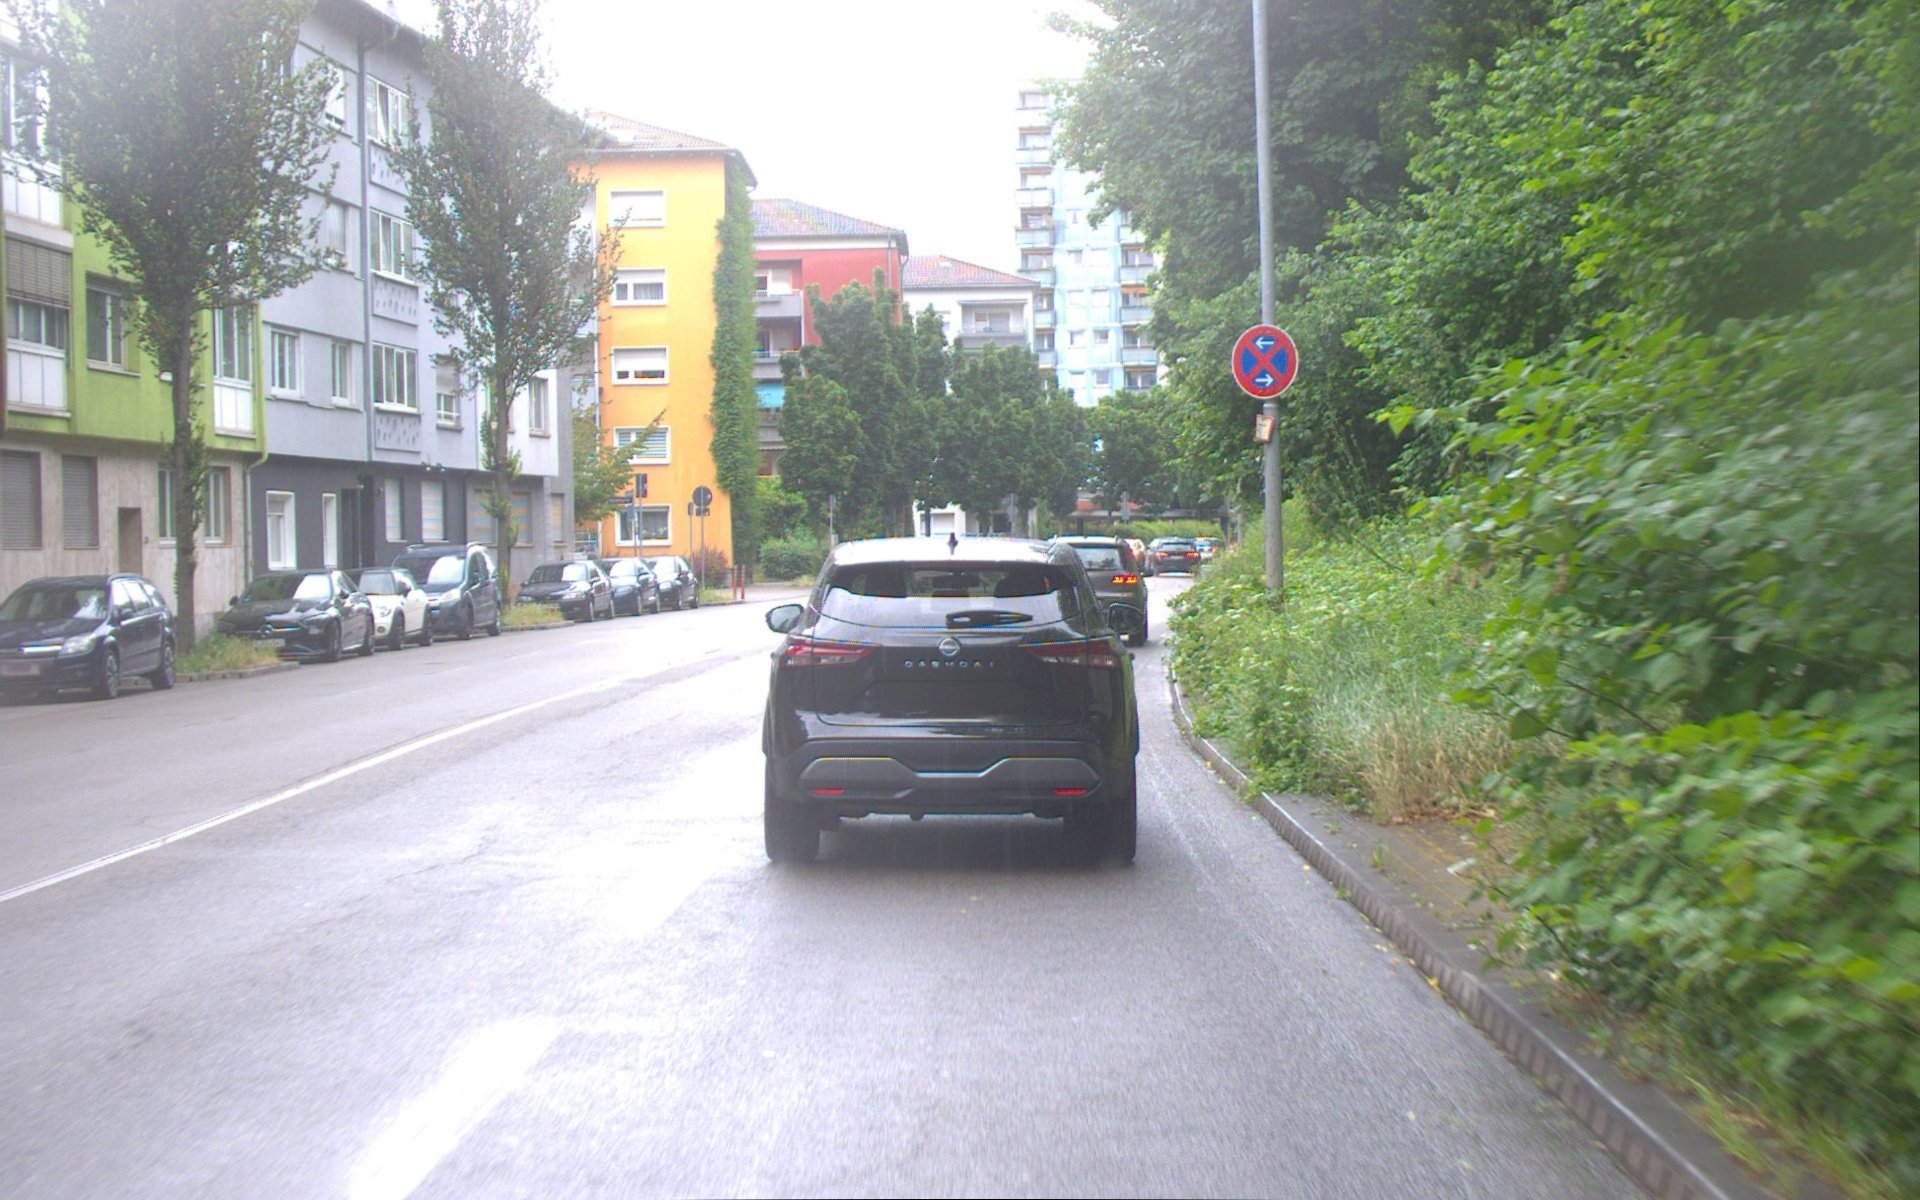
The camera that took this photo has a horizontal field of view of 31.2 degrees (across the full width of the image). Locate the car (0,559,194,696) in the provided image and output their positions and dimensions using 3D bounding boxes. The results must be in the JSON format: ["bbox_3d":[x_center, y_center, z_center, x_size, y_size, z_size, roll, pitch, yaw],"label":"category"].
[{"bbox_3d":[-10.805,0.308,41.947,1.718,1.483,4.515,-3,1,2],"label":"car"}]

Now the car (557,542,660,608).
[{"bbox_3d":[-8.557,-0.634,84.010,1.681,1.444,4.275,-4,1,4],"label":"car"}]

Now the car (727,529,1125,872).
[{"bbox_3d":[-0.124,0.425,17.995,1.845,1.577,4.000,0,1,1],"label":"car"}]

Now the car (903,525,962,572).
[{"bbox_3d":[-0.884,-1.699,113.453,1.706,1.473,3.680,-2,1,3],"label":"car"}]

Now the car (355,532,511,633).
[{"bbox_3d":[-9.909,-0.358,64.984,1.891,1.760,4.600,-2,1,4],"label":"car"}]

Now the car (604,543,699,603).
[{"bbox_3d":[-8.015,-0.724,89.652,1.713,1.420,4.322,-3,1,5],"label":"car"}]

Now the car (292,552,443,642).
[{"bbox_3d":[-10.142,-0.073,59.092,1.680,1.371,4.000,-3,1,3],"label":"car"}]

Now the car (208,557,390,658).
[{"bbox_3d":[-10.226,0.082,53.524,1.817,1.367,4.680,-3,1,1],"label":"car"}]

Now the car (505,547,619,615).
[{"bbox_3d":[-8.990,-0.456,77.920,1.688,1.353,4.579,-4,1,4],"label":"car"}]

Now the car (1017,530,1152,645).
[{"bbox_3d":[1.955,-0.218,53.018,1.887,1.705,3.999,0,1,5],"label":"car"}]
